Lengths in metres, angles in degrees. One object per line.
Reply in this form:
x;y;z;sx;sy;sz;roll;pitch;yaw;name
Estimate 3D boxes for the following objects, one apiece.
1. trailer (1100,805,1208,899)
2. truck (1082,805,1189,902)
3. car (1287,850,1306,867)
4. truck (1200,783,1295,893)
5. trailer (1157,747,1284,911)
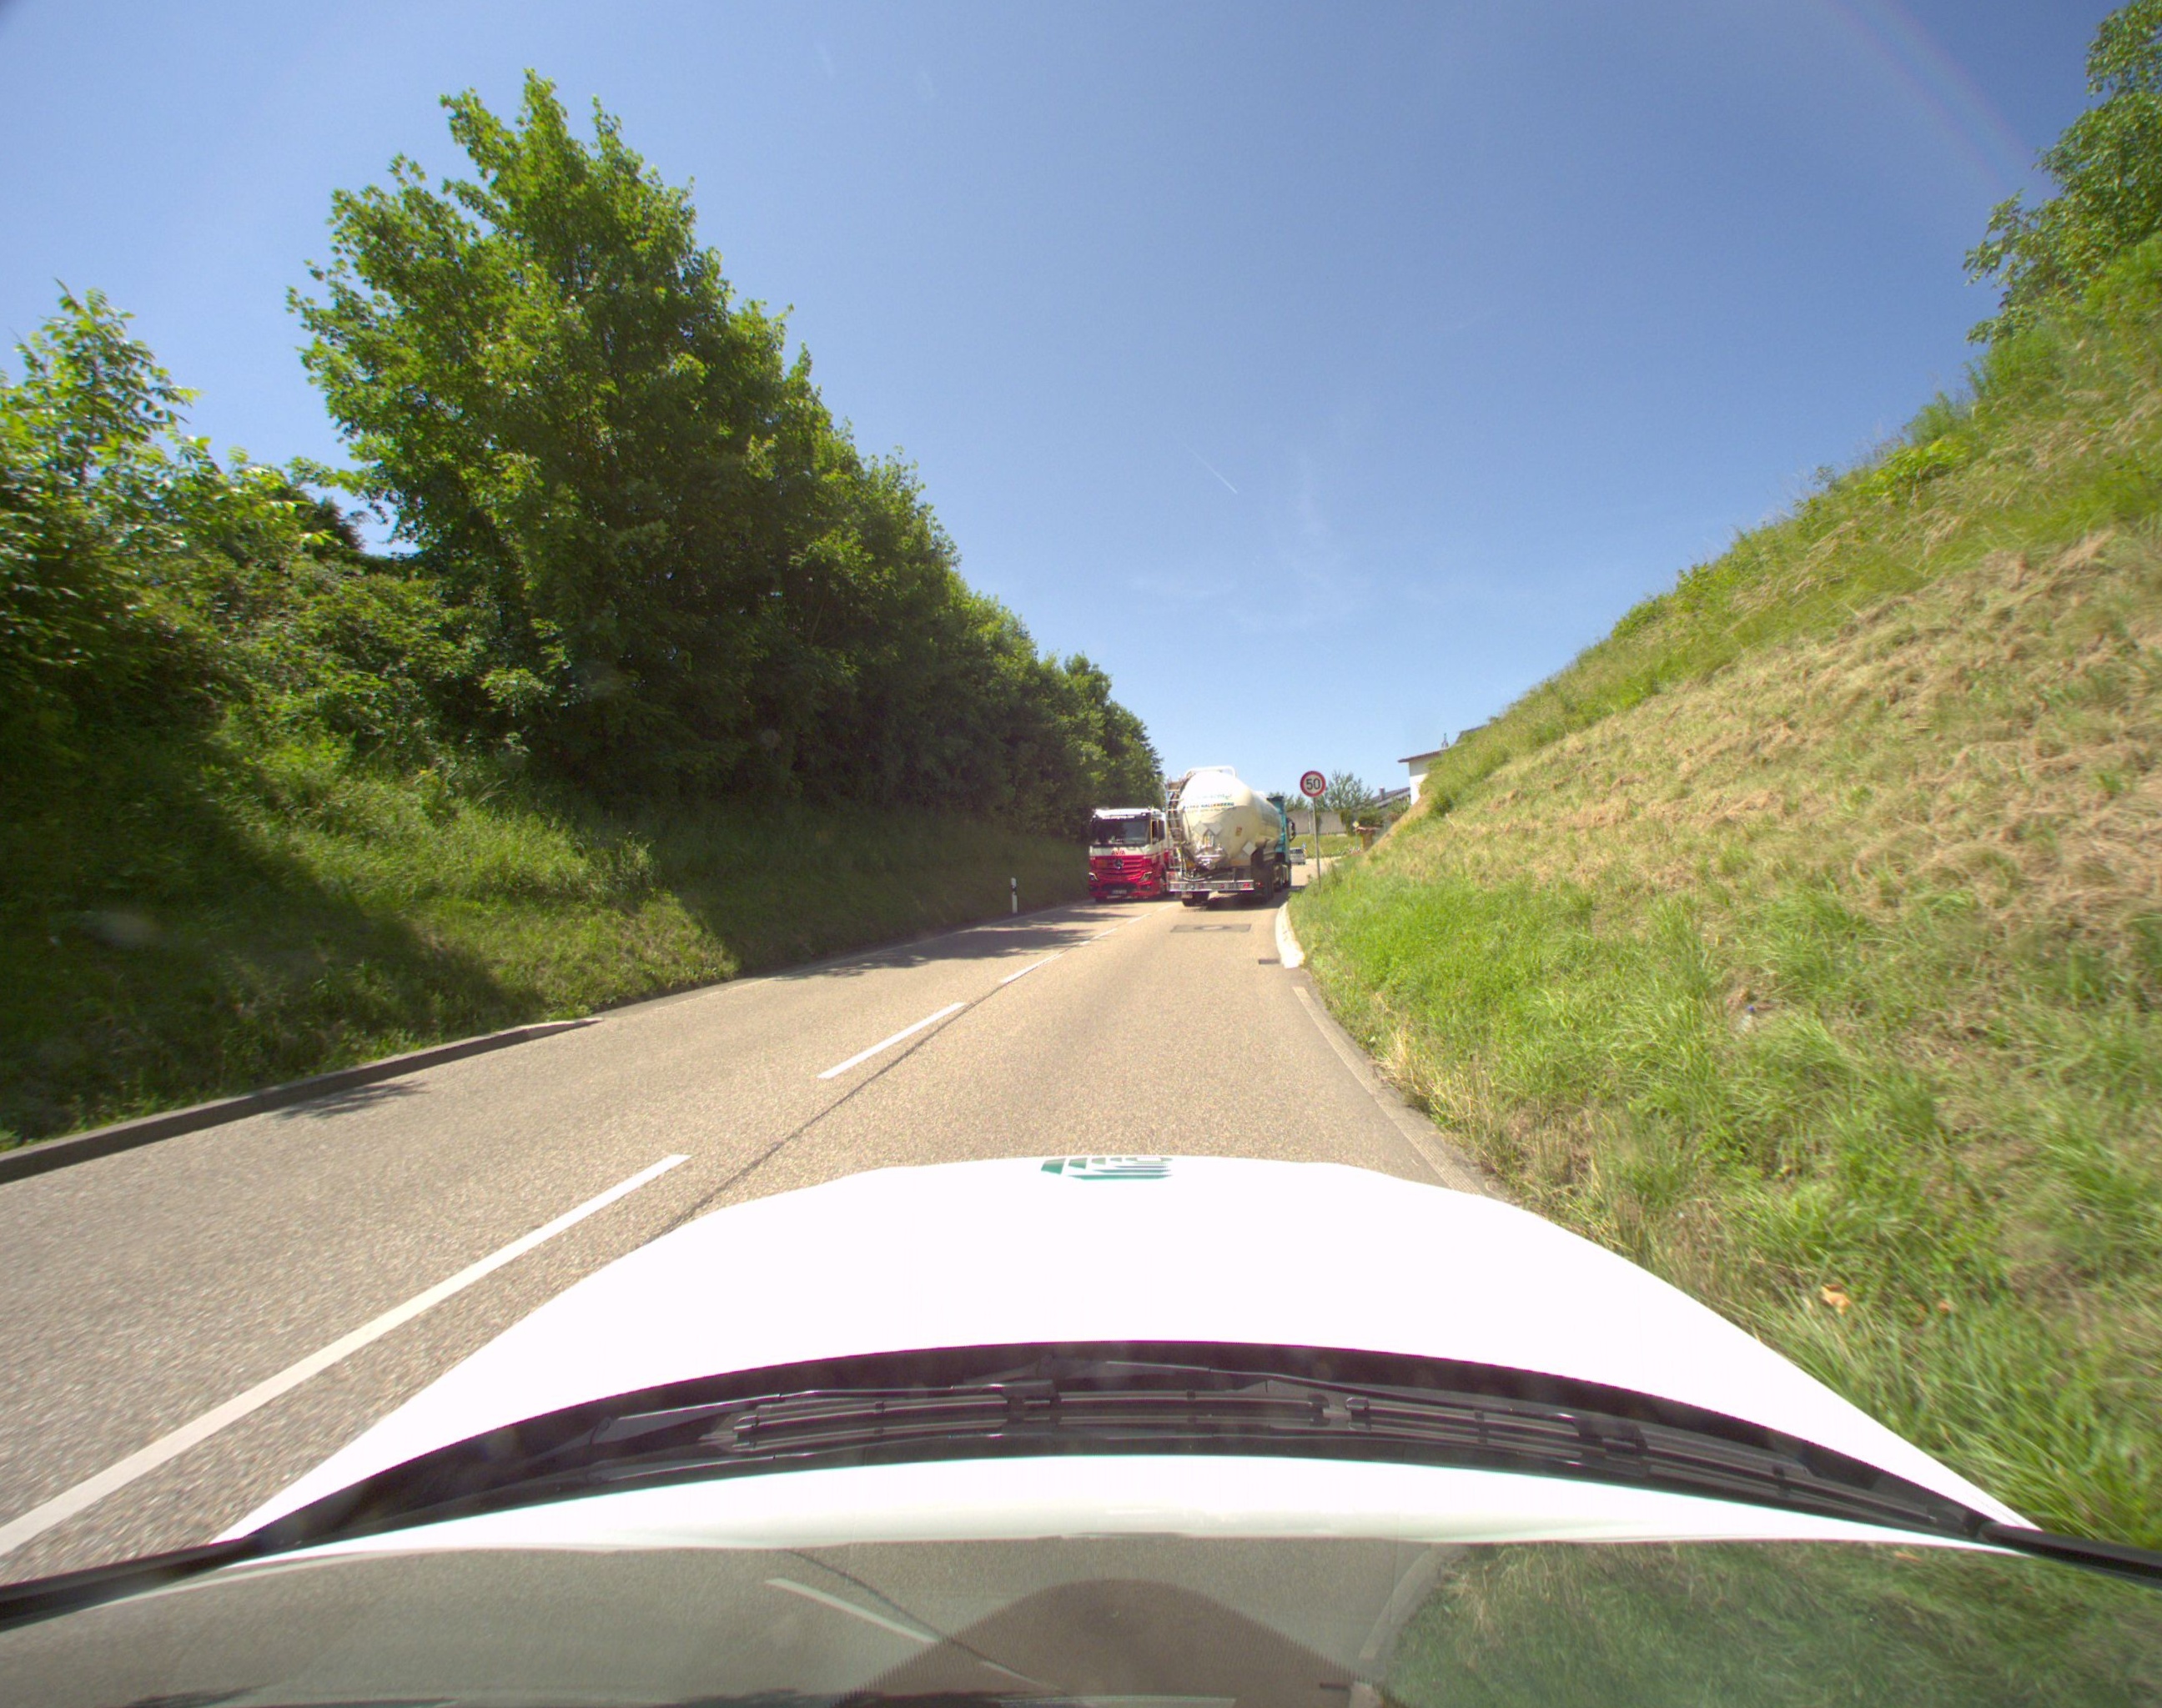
3.504;-0.076;35.366;2.613;3.373;11.187;-3;0;15;trailer
2.264;0.010;30.805;2.606;3.170;7.096;-3;-1;15;truck
19.403;0.429;73.370;1.636;1.509;3.652;0;-1;14;car
7.054;-0.561;33.572;2.704;3.930;7.298;-3;-1;19;truck
5.085;-0.663;27.231;2.641;4.188;11.956;-3;0;16;trailer
